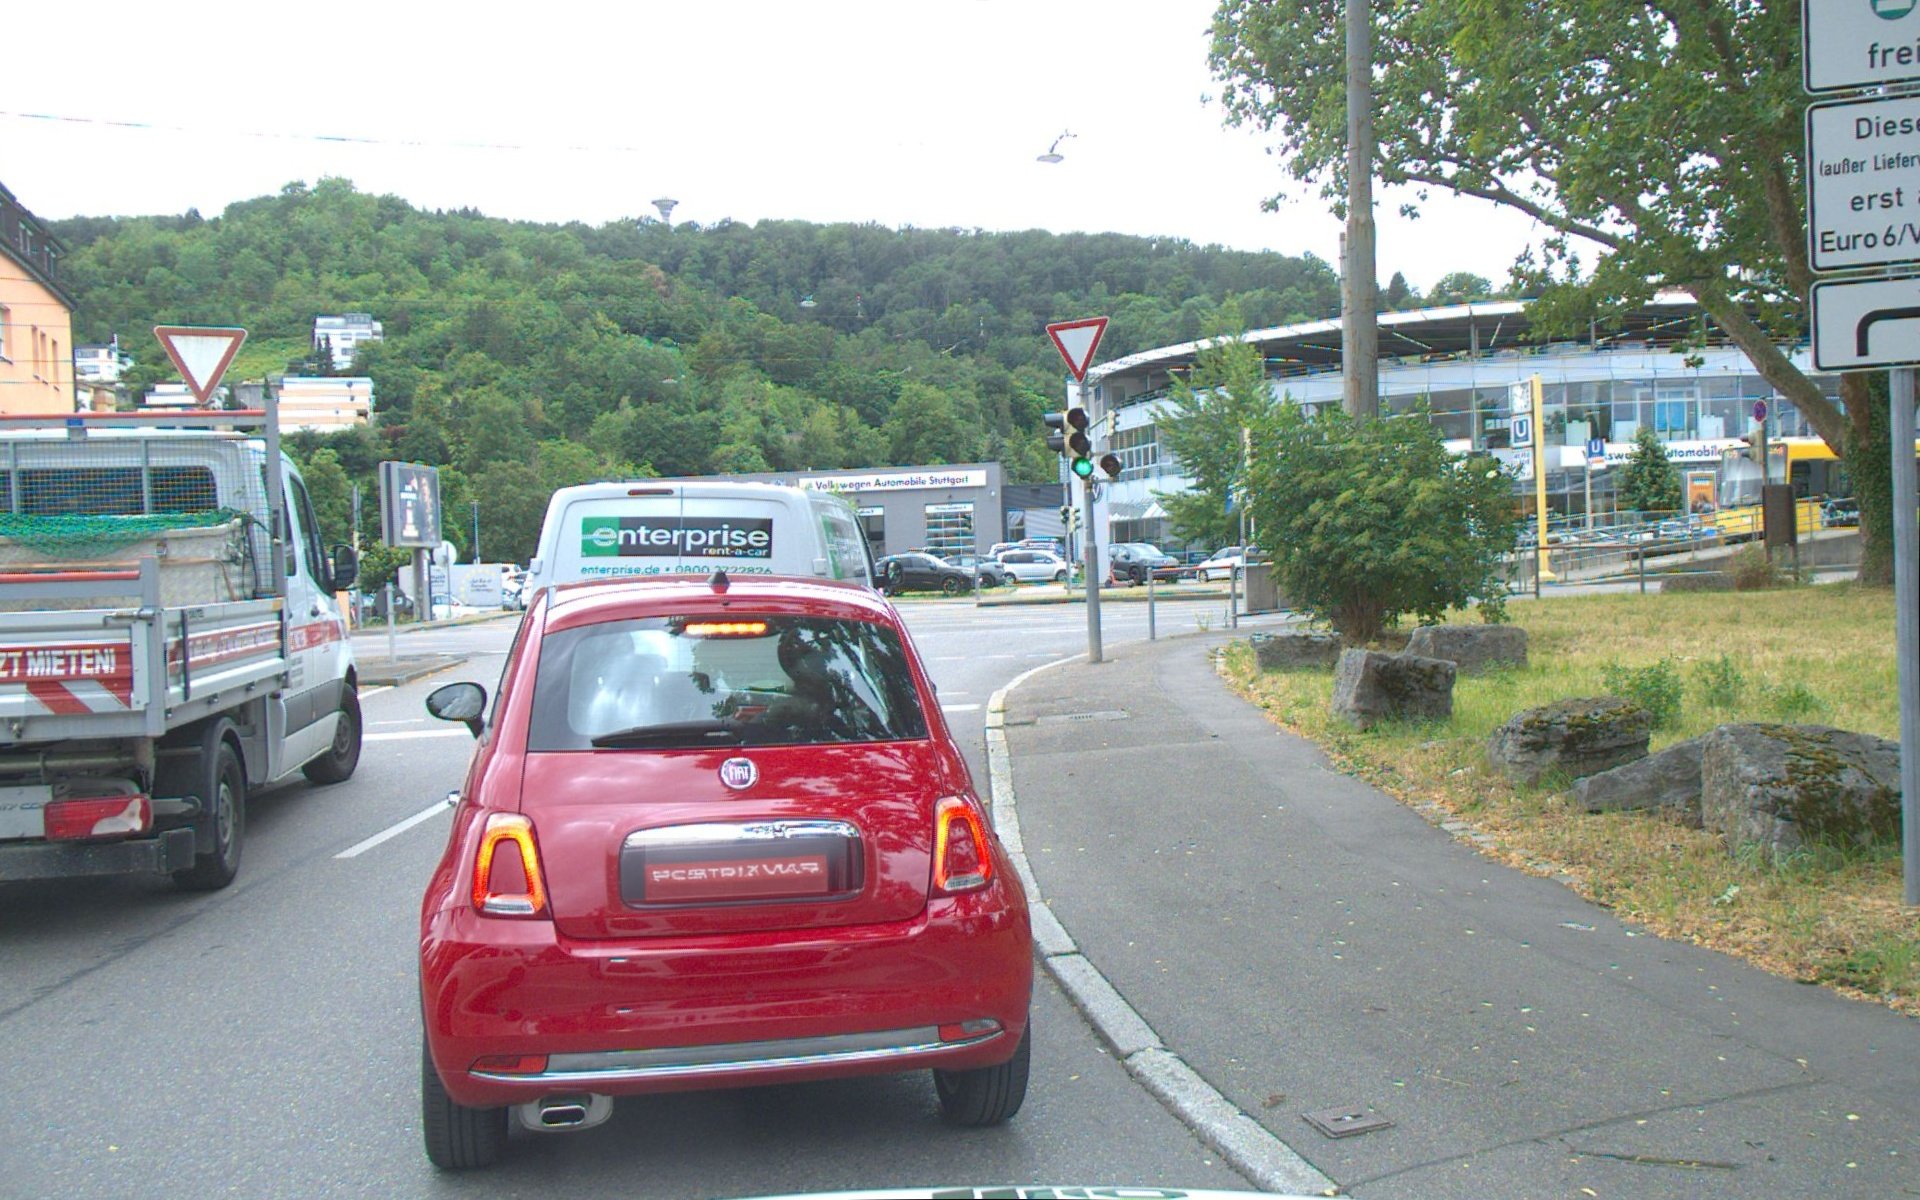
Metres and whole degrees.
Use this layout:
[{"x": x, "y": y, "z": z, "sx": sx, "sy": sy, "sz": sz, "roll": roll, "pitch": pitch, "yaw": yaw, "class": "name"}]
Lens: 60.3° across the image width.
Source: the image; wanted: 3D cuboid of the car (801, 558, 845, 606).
[{"x": -6.520, "y": -0.833, "z": 79.081, "sx": 1.954, "sy": 2.049, "sz": 5.013, "roll": -3, "pitch": -1, "yaw": -4, "class": "car"}]

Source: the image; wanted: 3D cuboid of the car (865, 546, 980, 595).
[{"x": -1.383, "y": -1.106, "z": 61.510, "sx": 3.902, "sy": 1.668, "sz": 2.003, "roll": 1, "pitch": 4, "yaw": 13, "class": "car"}]

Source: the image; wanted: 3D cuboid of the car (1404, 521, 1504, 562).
[{"x": 21.255, "y": -2.496, "z": 71.324, "sx": 1.899, "sy": 1.581, "sz": 3.964, "roll": -4, "pitch": 2, "yaw": -27, "class": "car"}]

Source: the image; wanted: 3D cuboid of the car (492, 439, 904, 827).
[{"x": -1.509, "y": 0.078, "z": 11.375, "sx": 1.957, "sy": 2.075, "sz": 4.833, "roll": 1, "pitch": 2, "yaw": 1, "class": "car"}]

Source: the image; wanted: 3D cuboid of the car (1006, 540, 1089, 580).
[{"x": 4.789, "y": -2.201, "z": 91.280, "sx": 4.404, "sy": 2.032, "sz": 1.999, "roll": 1, "pitch": 0, "yaw": -1, "class": "car"}]

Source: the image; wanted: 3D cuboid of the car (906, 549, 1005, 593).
[{"x": -0.222, "y": -1.197, "z": 70.064, "sx": 3.914, "sy": 1.736, "sz": 1.995, "roll": 1, "pitch": 0, "yaw": -10, "class": "car"}]

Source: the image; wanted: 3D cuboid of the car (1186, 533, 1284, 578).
[{"x": 11.137, "y": -1.788, "z": 67.235, "sx": 1.970, "sy": 1.668, "sz": 3.964, "roll": 1, "pitch": 0, "yaw": -28, "class": "car"}]

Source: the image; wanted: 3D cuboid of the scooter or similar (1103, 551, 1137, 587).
[{"x": 6.037, "y": -1.166, "z": 62.592, "sx": 1.177, "sy": 1.310, "sz": 0.575, "roll": 1, "pitch": -1, "yaw": -6, "class": "scooter or similar"}]

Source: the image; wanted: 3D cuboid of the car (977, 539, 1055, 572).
[{"x": 3.244, "y": -2.593, "z": 96.410, "sx": 4.405, "sy": 1.759, "sz": 1.999, "roll": 1, "pitch": 0, "yaw": -2, "class": "car"}]

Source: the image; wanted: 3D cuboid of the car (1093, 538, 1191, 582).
[{"x": 7.146, "y": -1.563, "z": 65.368, "sx": 1.971, "sy": 1.668, "sz": 3.964, "roll": -2, "pitch": 1, "yaw": -28, "class": "car"}]

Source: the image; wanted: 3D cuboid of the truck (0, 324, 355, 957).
[{"x": -4.829, "y": 0.090, "z": 9.050, "sx": 2.276, "sy": 2.463, "sz": 5.632, "roll": -2, "pitch": 2, "yaw": -15, "class": "truck"}]

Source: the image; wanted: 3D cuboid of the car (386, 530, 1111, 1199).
[{"x": -0.870, "y": 0.589, "z": 5.833, "sx": 1.668, "sy": 1.551, "sz": 3.988, "roll": 1, "pitch": 1, "yaw": -12, "class": "car"}]

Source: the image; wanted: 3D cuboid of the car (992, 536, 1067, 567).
[{"x": 4.208, "y": -2.931, "z": 100.768, "sx": 4.405, "sy": 1.759, "sz": 1.999, "roll": 1, "pitch": 0, "yaw": -2, "class": "car"}]

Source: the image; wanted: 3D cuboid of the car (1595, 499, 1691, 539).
[{"x": 31.065, "y": -3.684, "z": 75.333, "sx": 1.893, "sy": 1.581, "sz": 3.978, "roll": -3, "pitch": 1, "yaw": -19, "class": "car"}]

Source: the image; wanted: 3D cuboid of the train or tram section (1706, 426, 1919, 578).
[{"x": 27.460, "y": -3.000, "z": 48.892, "sx": 11.720, "sy": 4.035, "sz": 2.729, "roll": -4, "pitch": 1, "yaw": -24, "class": "train or tram section"}]

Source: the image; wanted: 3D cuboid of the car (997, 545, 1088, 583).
[{"x": 4.030, "y": -1.765, "z": 81.401, "sx": 4.403, "sy": 1.759, "sz": 2.000, "roll": 1, "pitch": 0, "yaw": 1, "class": "car"}]

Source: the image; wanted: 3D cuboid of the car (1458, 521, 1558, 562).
[{"x": 24.010, "y": -2.556, "z": 72.572, "sx": 1.899, "sy": 1.581, "sz": 3.964, "roll": -4, "pitch": 2, "yaw": -27, "class": "car"}]
